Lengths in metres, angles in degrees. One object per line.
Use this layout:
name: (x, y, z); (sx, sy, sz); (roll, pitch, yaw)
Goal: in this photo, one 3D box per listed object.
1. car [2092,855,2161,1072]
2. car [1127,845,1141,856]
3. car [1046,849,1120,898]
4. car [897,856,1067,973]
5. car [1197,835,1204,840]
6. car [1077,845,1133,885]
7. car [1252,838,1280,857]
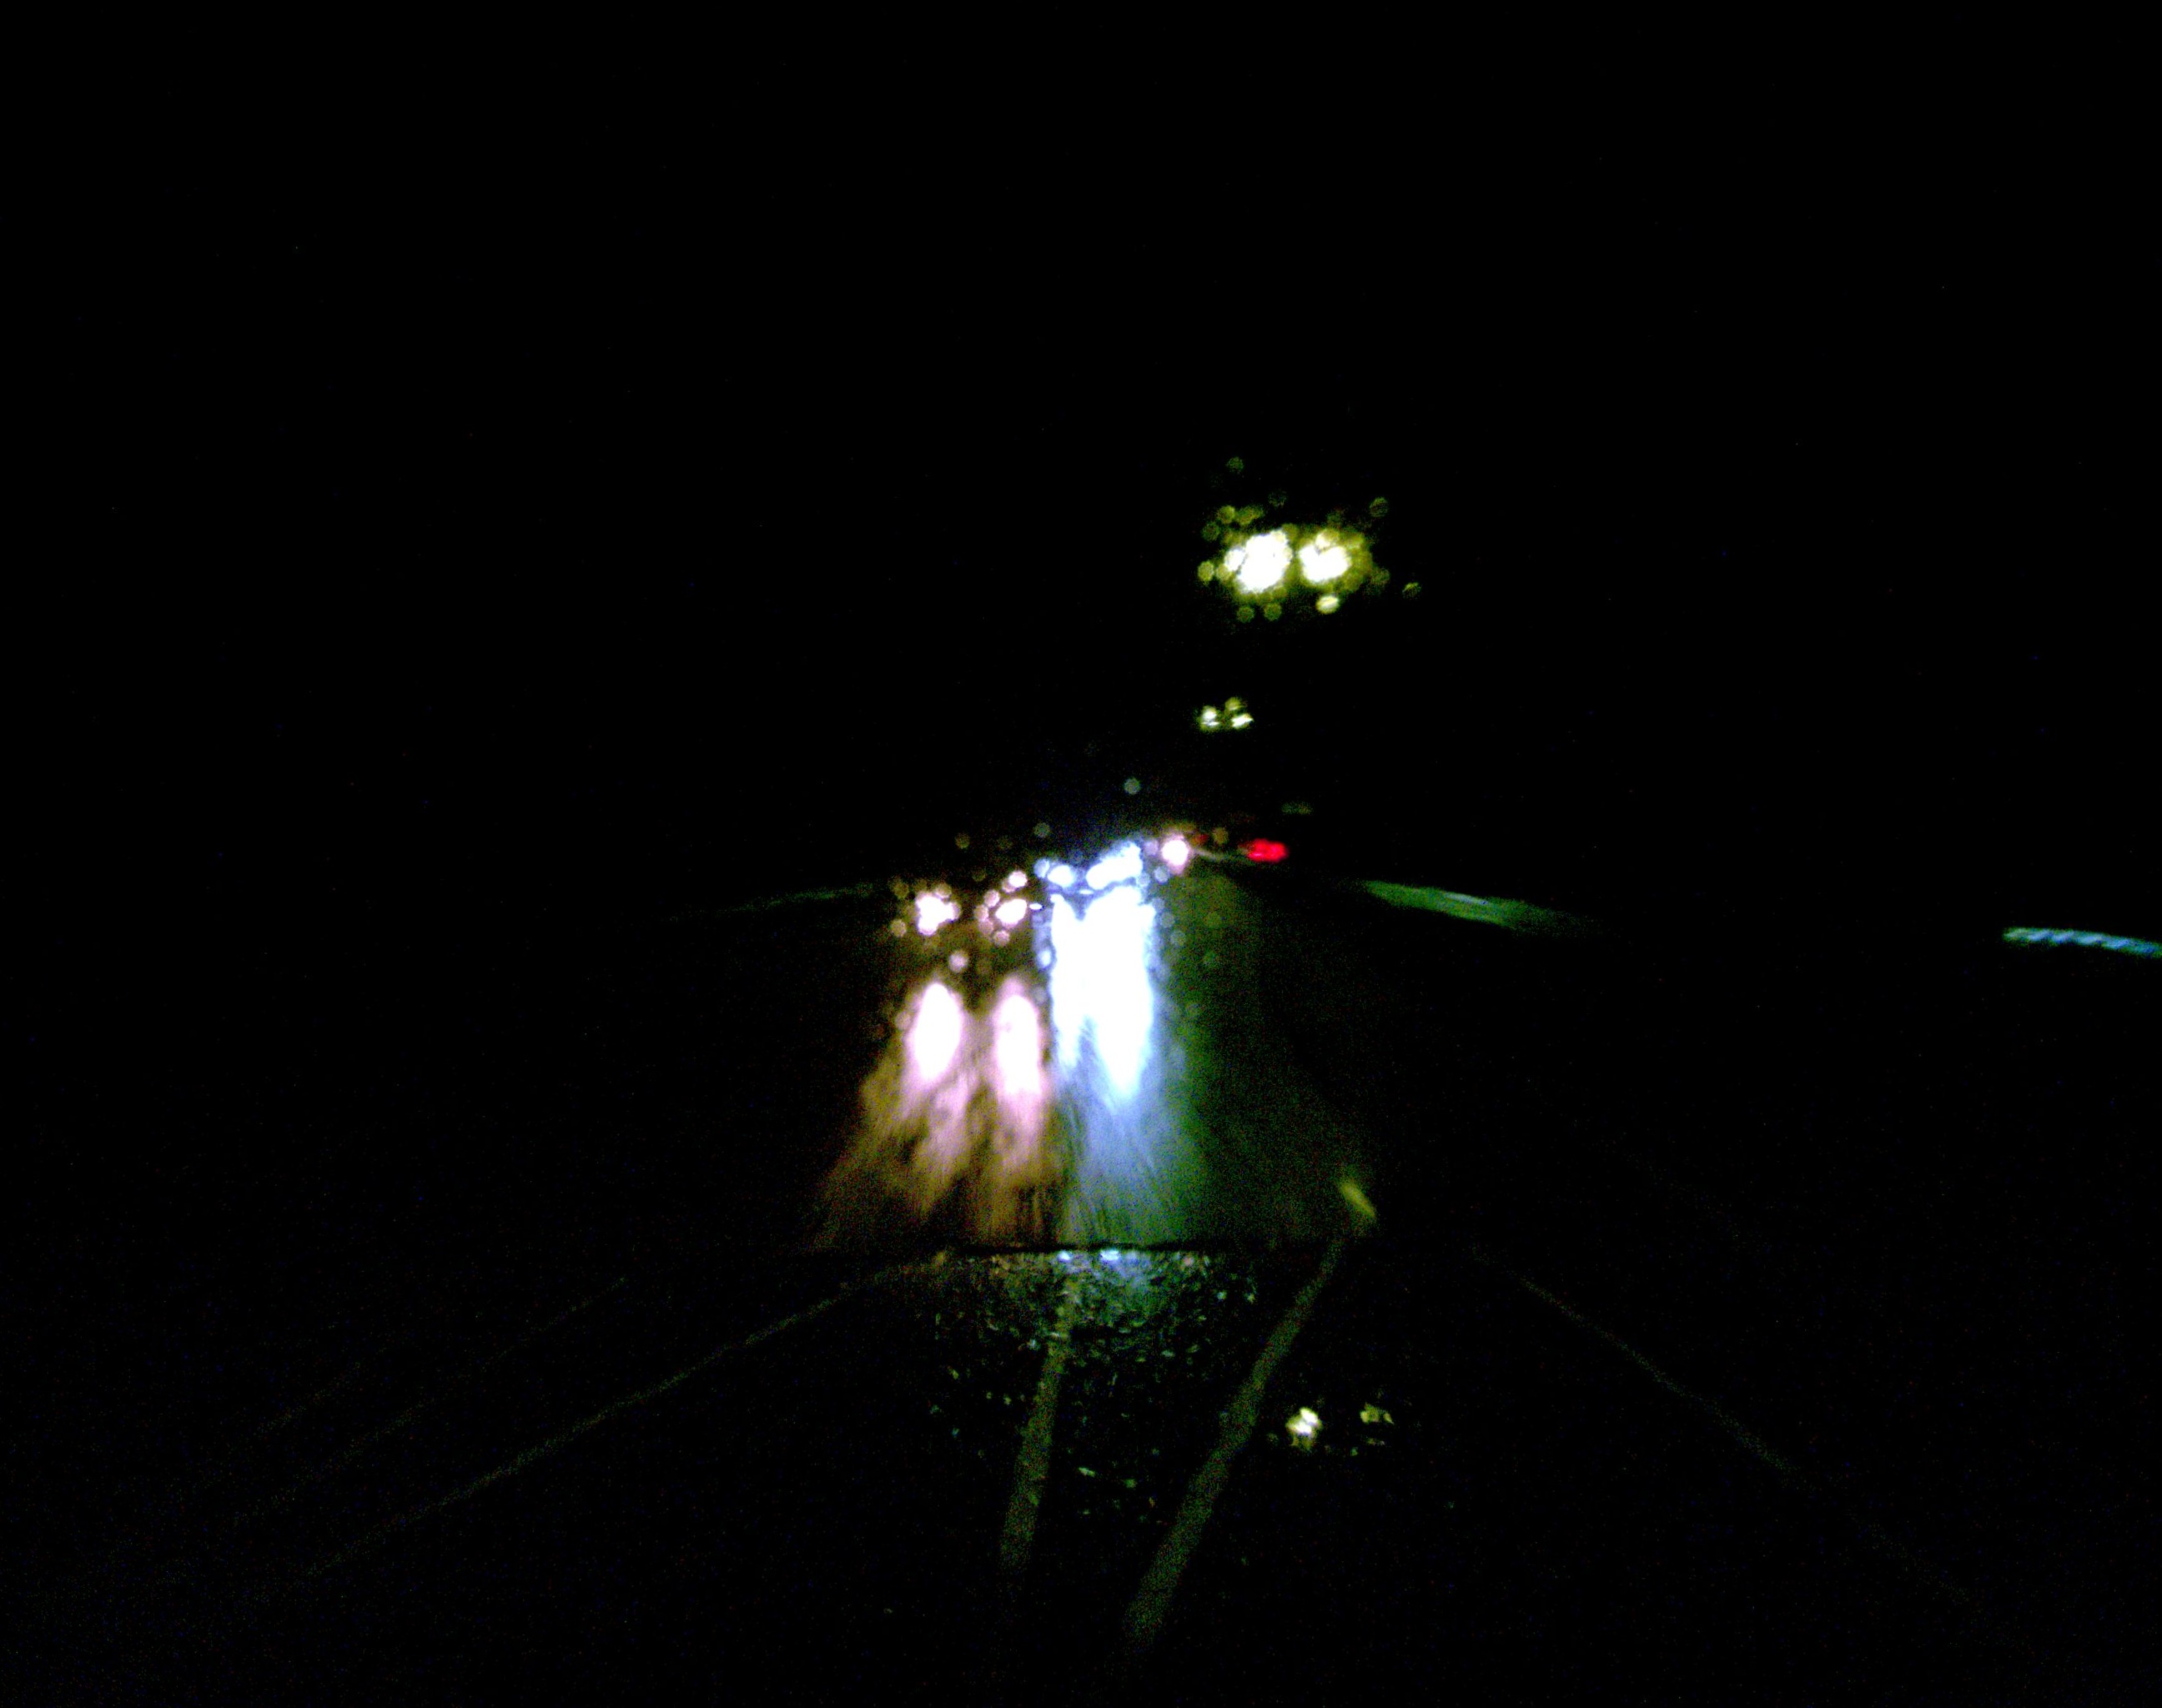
car: (7.452, 0.718, 2.761); (1.614, 1.374, 4.748); (-2, 1, 7)
car: (8.439, -0.538, 120.846); (1.997, 1.657, 4.001); (-1, 1, 6)
car: (0.162, 0.595, 25.858); (1.997, 1.455, 4.002); (-1, 1, 7)
car: (-1.421, 0.850, 12.501); (1.763, 1.492, 4.001); (-2, 1, 7)
car: (36.064, -4.968, 228.642); (1.787, 1.638, 4.001); (-2, 1, 6)
car: (1.095, 0.432, 32.449); (1.997, 1.531, 4.002); (-1, 1, 7)
car: (15.572, -0.554, 64.097); (1.755, 1.543, 4.011); (-1, 1, 7)
